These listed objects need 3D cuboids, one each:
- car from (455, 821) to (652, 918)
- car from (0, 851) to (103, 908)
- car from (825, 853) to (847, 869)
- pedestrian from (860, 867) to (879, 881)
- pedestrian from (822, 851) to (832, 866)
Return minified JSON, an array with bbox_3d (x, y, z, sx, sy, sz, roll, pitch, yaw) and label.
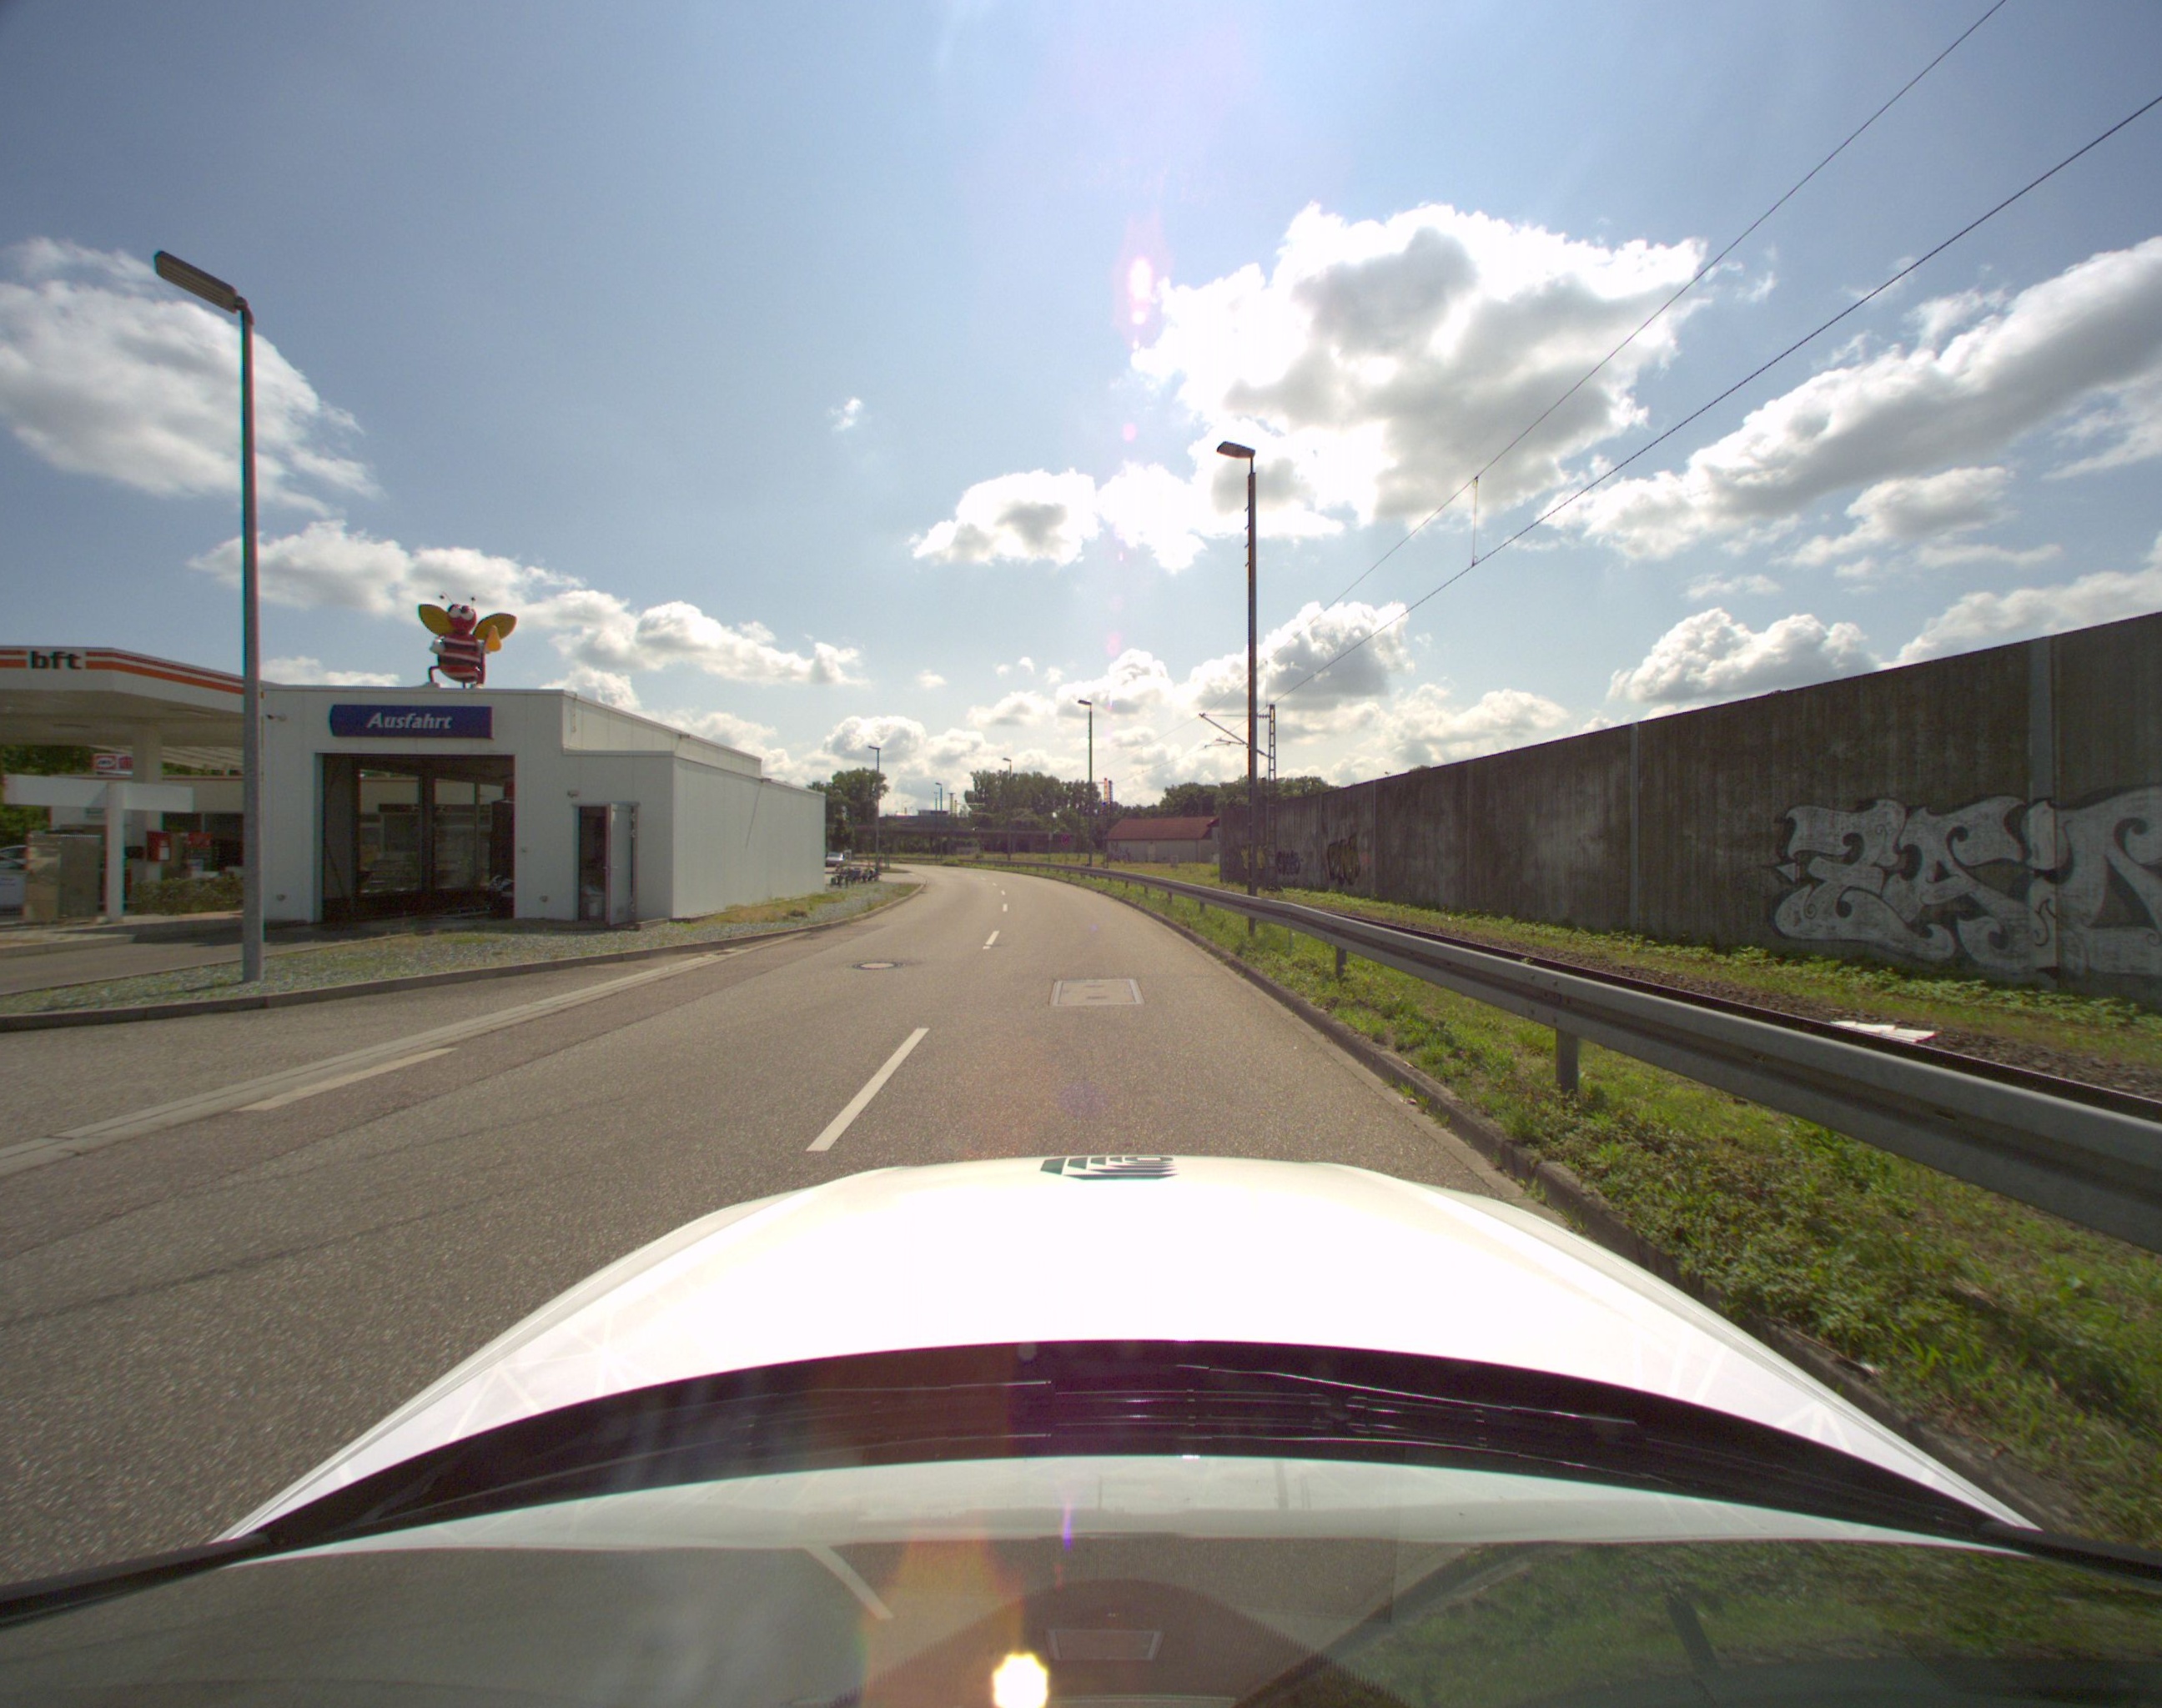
[{"bbox_3d":[-12.937,0.349,20.456,1.990,2.109,5.001,-1,0,-5],"label":"car"},{"bbox_3d":[-28.066,0.644,20.274,1.886,1.431,4.585,-1,0,0],"label":"car"},{"bbox_3d":[-26.677,0.727,88.835,1.933,1.517,4.754,1,1,-13],"label":"car"},{"bbox_3d":[-11.674,1.099,44.984,0.861,0.760,0.816,1,-1,-6],"label":"pedestrian"},{"bbox_3d":[-28.582,0.509,91.714,0.705,1.579,0.726,-1,-1,22],"label":"pedestrian"}]
